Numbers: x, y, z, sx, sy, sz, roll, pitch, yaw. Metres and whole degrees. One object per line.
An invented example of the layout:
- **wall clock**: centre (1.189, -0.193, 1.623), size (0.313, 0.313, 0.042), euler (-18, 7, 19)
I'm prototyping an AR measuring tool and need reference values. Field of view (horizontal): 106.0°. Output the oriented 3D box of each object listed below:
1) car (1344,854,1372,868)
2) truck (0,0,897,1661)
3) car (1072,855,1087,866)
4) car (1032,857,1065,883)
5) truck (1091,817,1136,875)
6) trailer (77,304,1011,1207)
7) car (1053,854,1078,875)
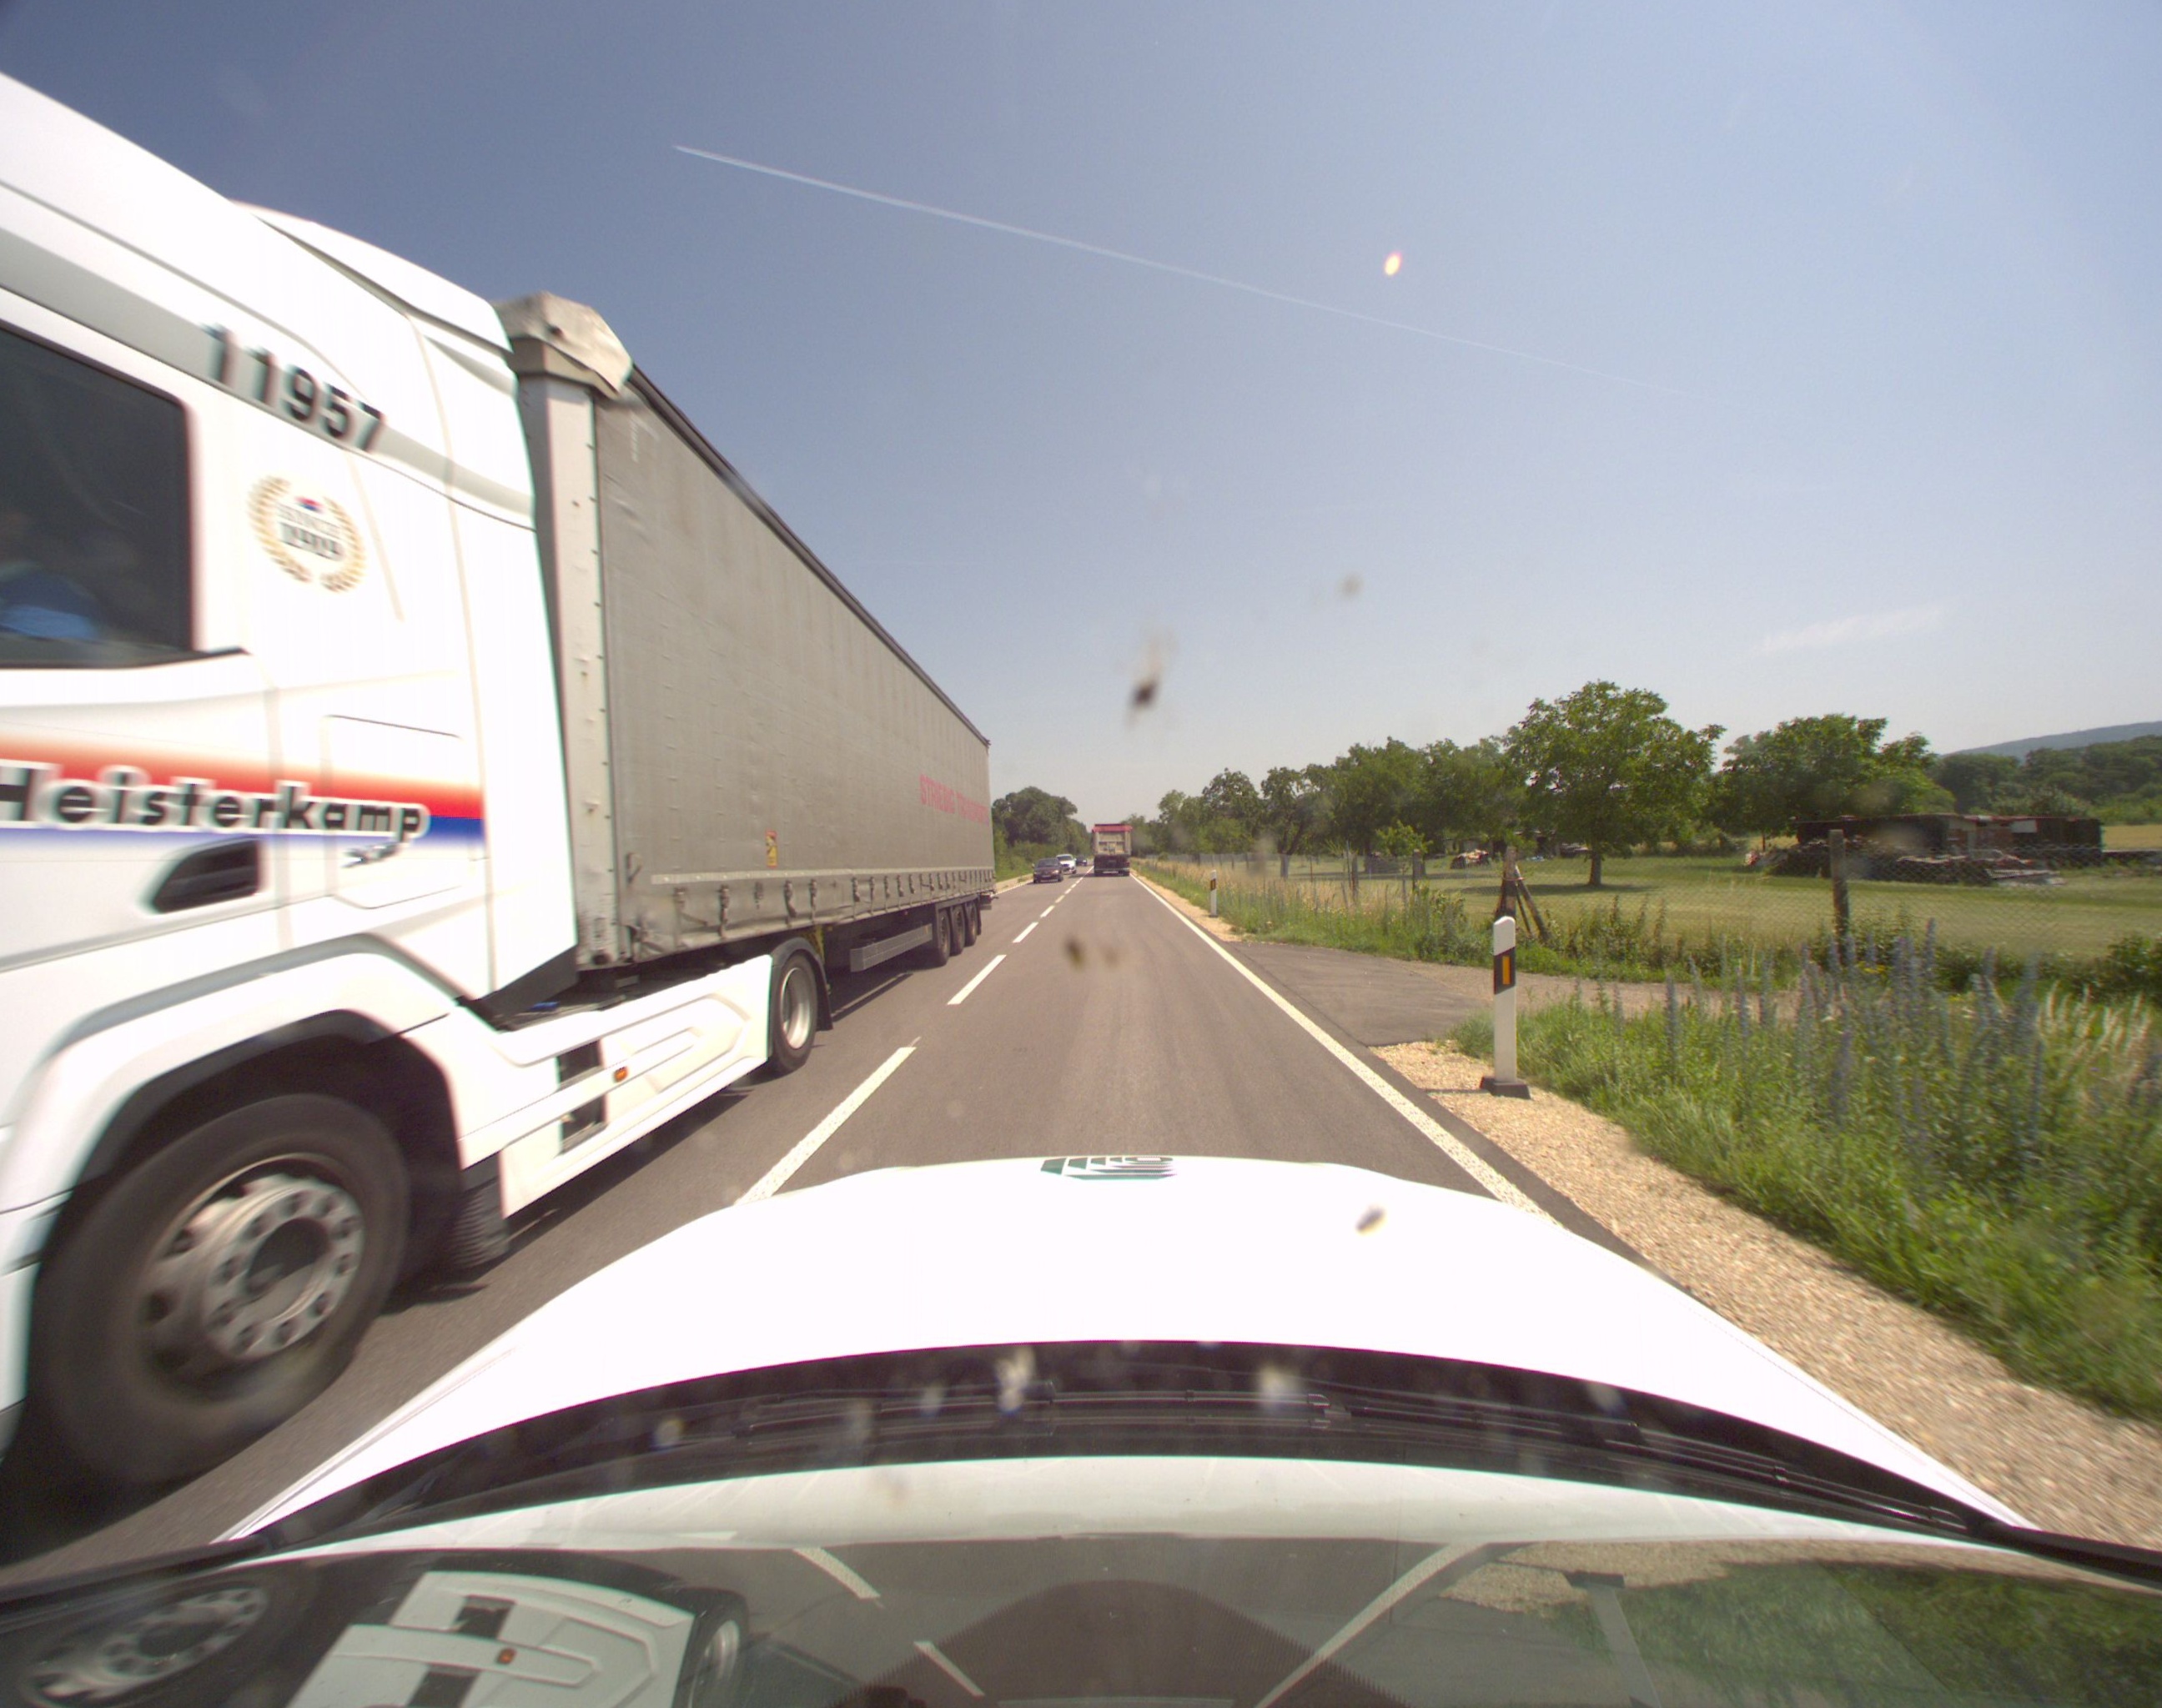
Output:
- **car**: centre (30.130, 0.728, 88.658), size (1.591, 1.486, 3.420), euler (-2, 1, -6)
- **truck**: centre (-3.462, -0.498, 4.504), size (2.707, 4.265, 7.393), euler (-4, 0, 2)
- **car**: centre (-0.145, 0.862, 107.518), size (1.752, 1.357, 4.047), euler (-4, 0, 1)
- **car**: centre (-1.888, 0.921, 48.925), size (1.689, 1.406, 4.046), euler (-4, 0, 0)
- **truck**: centre (2.334, -0.505, 60.510), size (2.998, 3.874, 12.213), euler (0, 0, 2)
- **trailer**: centre (-3.247, -0.497, 10.903), size (2.706, 4.265, 13.816), euler (-4, 0, 2)
- **car**: centre (-1.251, 0.854, 68.003), size (1.752, 1.606, 4.483), euler (-4, 0, 1)
